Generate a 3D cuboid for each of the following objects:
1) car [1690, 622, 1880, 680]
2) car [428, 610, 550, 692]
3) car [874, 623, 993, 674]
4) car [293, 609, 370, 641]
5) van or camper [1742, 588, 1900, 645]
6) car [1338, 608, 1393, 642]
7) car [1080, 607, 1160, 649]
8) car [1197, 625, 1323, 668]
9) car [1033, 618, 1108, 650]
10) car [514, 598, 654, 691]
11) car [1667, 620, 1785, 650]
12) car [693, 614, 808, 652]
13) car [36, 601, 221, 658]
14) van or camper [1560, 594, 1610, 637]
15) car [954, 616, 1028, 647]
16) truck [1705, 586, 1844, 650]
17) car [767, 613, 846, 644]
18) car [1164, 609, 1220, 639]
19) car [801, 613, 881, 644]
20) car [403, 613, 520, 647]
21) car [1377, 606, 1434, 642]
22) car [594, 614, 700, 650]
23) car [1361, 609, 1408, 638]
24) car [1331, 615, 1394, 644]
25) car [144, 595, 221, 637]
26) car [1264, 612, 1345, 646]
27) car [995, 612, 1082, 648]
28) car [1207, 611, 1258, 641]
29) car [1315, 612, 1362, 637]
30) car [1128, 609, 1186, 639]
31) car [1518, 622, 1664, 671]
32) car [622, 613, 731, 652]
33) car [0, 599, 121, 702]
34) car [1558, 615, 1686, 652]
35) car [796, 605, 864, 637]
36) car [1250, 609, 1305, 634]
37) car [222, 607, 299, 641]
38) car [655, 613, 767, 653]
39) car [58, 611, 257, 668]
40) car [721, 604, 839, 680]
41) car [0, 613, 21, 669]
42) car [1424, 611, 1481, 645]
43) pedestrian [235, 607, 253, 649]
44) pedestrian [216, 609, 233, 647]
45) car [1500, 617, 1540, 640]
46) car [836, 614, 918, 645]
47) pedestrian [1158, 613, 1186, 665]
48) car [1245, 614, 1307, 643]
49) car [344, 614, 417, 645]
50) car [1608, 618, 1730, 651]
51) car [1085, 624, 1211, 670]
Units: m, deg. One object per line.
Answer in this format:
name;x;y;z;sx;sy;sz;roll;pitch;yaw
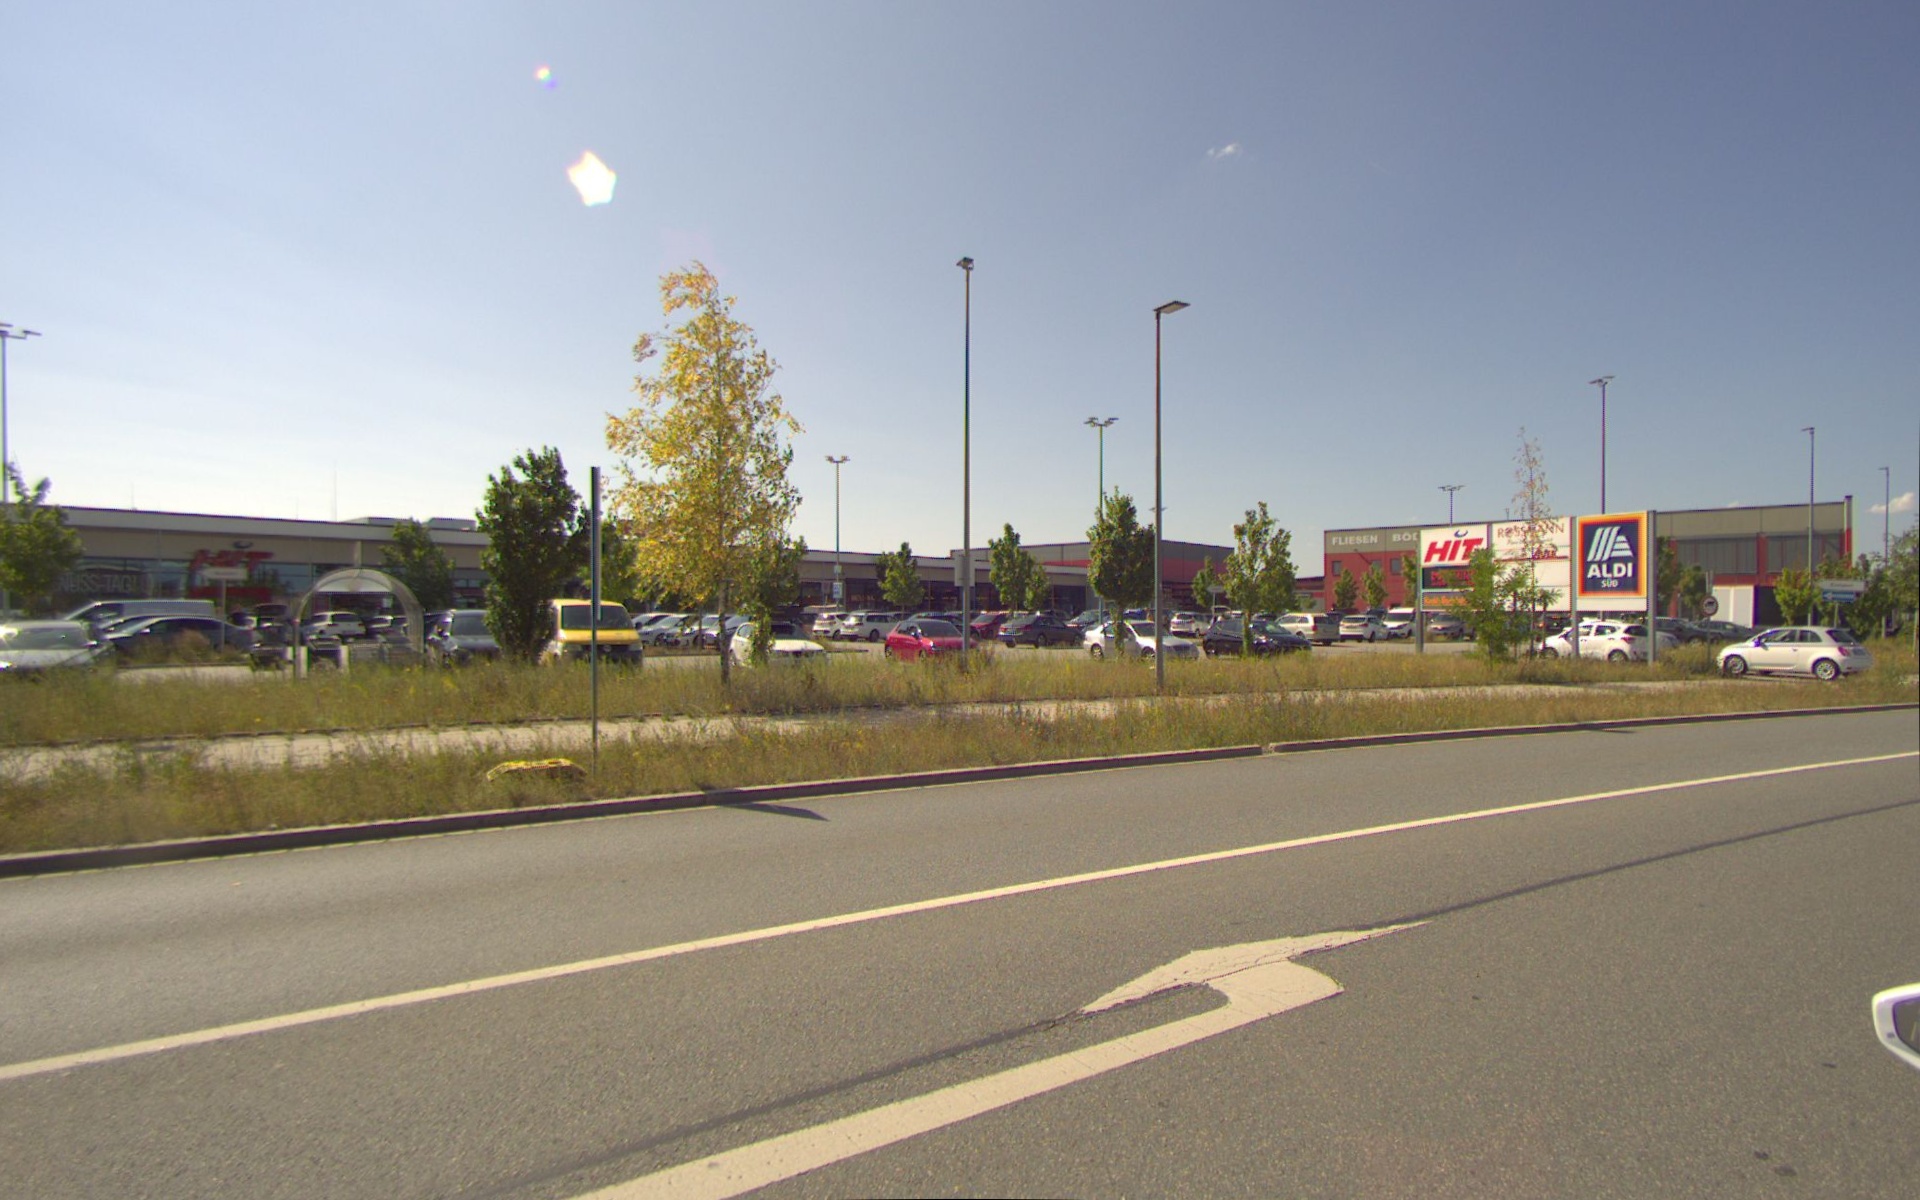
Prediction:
car;24.439;1.455;29.922;1.890;1.568;3.978;1;-1;-23
car;-10.970;1.089;23.197;1.863;1.694;4.739;1;-1;-34
car;-0.859;1.369;29.758;1.912;1.366;4.127;1;-1;-28
car;-31.249;1.212;49.909;4.285;1.545;1.828;-1;-1;37
van or camper;55.740;1.051;65.183;2.538;3.514;7.619;1;-1;-43
car;25.142;1.514;62.159;1.811;2.024;4.358;0;-1;42
car;8.060;1.384;50.259;1.692;2.012;4.811;0;-1;40
car;10.439;1.588;35.188;1.912;1.366;4.127;1;-1;-28
car;5.731;1.719;51.654;1.692;1.602;4.333;-1;-1;40
car;-9.298;1.002;24.490;1.979;1.991;5.647;1;-1;-34
car;38.980;1.770;51.220;1.954;1.402;4.397;1;-1;-33
car;-8.225;1.275;39.673;1.692;1.436;4.333;-1;-1;40
car;-27.526;0.939;33.369;1.693;1.764;4.557;-1;-1;43
van or camper;50.150;1.240;80.481;2.401;3.314;7.200;0;-1;40
car;1.733;1.703;54.918;1.692;1.596;4.333;-1;-1;40
truck;46.012;1.046;56.742;7.370;3.510;2.317;1;-1;-16
car;-8.482;1.556;55.833;1.692;1.623;4.333;-1;-1;40
car;14.505;1.487;62.696;1.886;1.749;4.366;0;-1;36
car;-6.361;1.510;54.130;1.692;1.637;4.333;-1;-1;40
car;-21.875;1.292;44.211;1.693;1.436;4.330;-1;-1;43
car;26.336;1.411;59.332;1.811;2.092;4.358;0;-1;42
car;-14.051;1.428;45.302;1.692;1.553;4.333;-1;-1;40
car;30.505;1.700;72.191;1.811;2.021;4.358;0;-1;42
car;22.031;1.601;54.886;1.811;1.532;4.358;0;-1;42
car;-35.825;0.724;46.259;4.285;1.831;1.711;-1;-1;37
car;16.612;1.389;48.698;1.810;1.568;3.988;1;-1;-15
car;3.585;1.306;45.157;1.692;1.536;4.333;-1;-1;40
car;16.586;1.554;61.008;1.884;1.740;4.372;0;-1;32
car;27.933;1.796;74.074;1.811;1.797;4.358;0;-1;42
car;12.594;1.534;64.119;1.887;1.817;4.364;0;-1;38
car;22.050;1.582;35.237;1.892;1.568;3.975;1;-1;-25
car;-12.193;1.383;43.357;1.692;1.592;4.333;-1;-1;40
car;-17.100;0.860;18.552;1.980;1.694;4.672;1;-1;-34
car;30.109;1.493;45.825;1.819;1.532;4.578;1;-1;-34
car;-8.296;1.367;64.472;1.692;1.984;4.333;0;-1;40
car;20.815;1.405;65.737;1.811;1.603;4.358;0;-1;42
car;-32.990;1.102;47.365;4.285;1.539;1.711;-1;-1;37
car;-10.201;1.315;41.458;1.692;1.570;4.333;-1;-1;40
car;-23.575;1.116;29.644;1.691;1.546;4.335;-1;-1;39
car;-4.952;1.076;27.220;1.910;1.886;4.125;1;-1;-30
car;-26.728;1.057;25.487;1.692;1.444;4.120;-1;-1;41
car;28.410;1.599;57.890;1.811;1.848;4.358;0;-1;42
pedestrian;-25.851;1.004;36.260;0.503;1.484;0.411;0;-1;43
pedestrian;-27.331;1.029;37.302;0.503;1.414;0.411;0;-1;43
car;39.930;2.042;71.566;1.810;1.583;4.362;0;-1;39
car;-4.269;1.495;52.206;1.692;1.565;4.333;-1;-1;40
pedestrian;7.107;1.314;33.723;0.571;1.717;0.761;1;-1;-28
car;18.674;1.660;59.205;1.890;1.639;4.358;0;-1;42
car;-29.860;1.489;51.702;4.285;1.561;1.711;-1;-1;37
car;34.348;1.641;48.776;1.819;1.478;4.548;1;-1;-33
car;6.075;1.501;32.881;1.912;1.366;4.127;1;-1;-28
